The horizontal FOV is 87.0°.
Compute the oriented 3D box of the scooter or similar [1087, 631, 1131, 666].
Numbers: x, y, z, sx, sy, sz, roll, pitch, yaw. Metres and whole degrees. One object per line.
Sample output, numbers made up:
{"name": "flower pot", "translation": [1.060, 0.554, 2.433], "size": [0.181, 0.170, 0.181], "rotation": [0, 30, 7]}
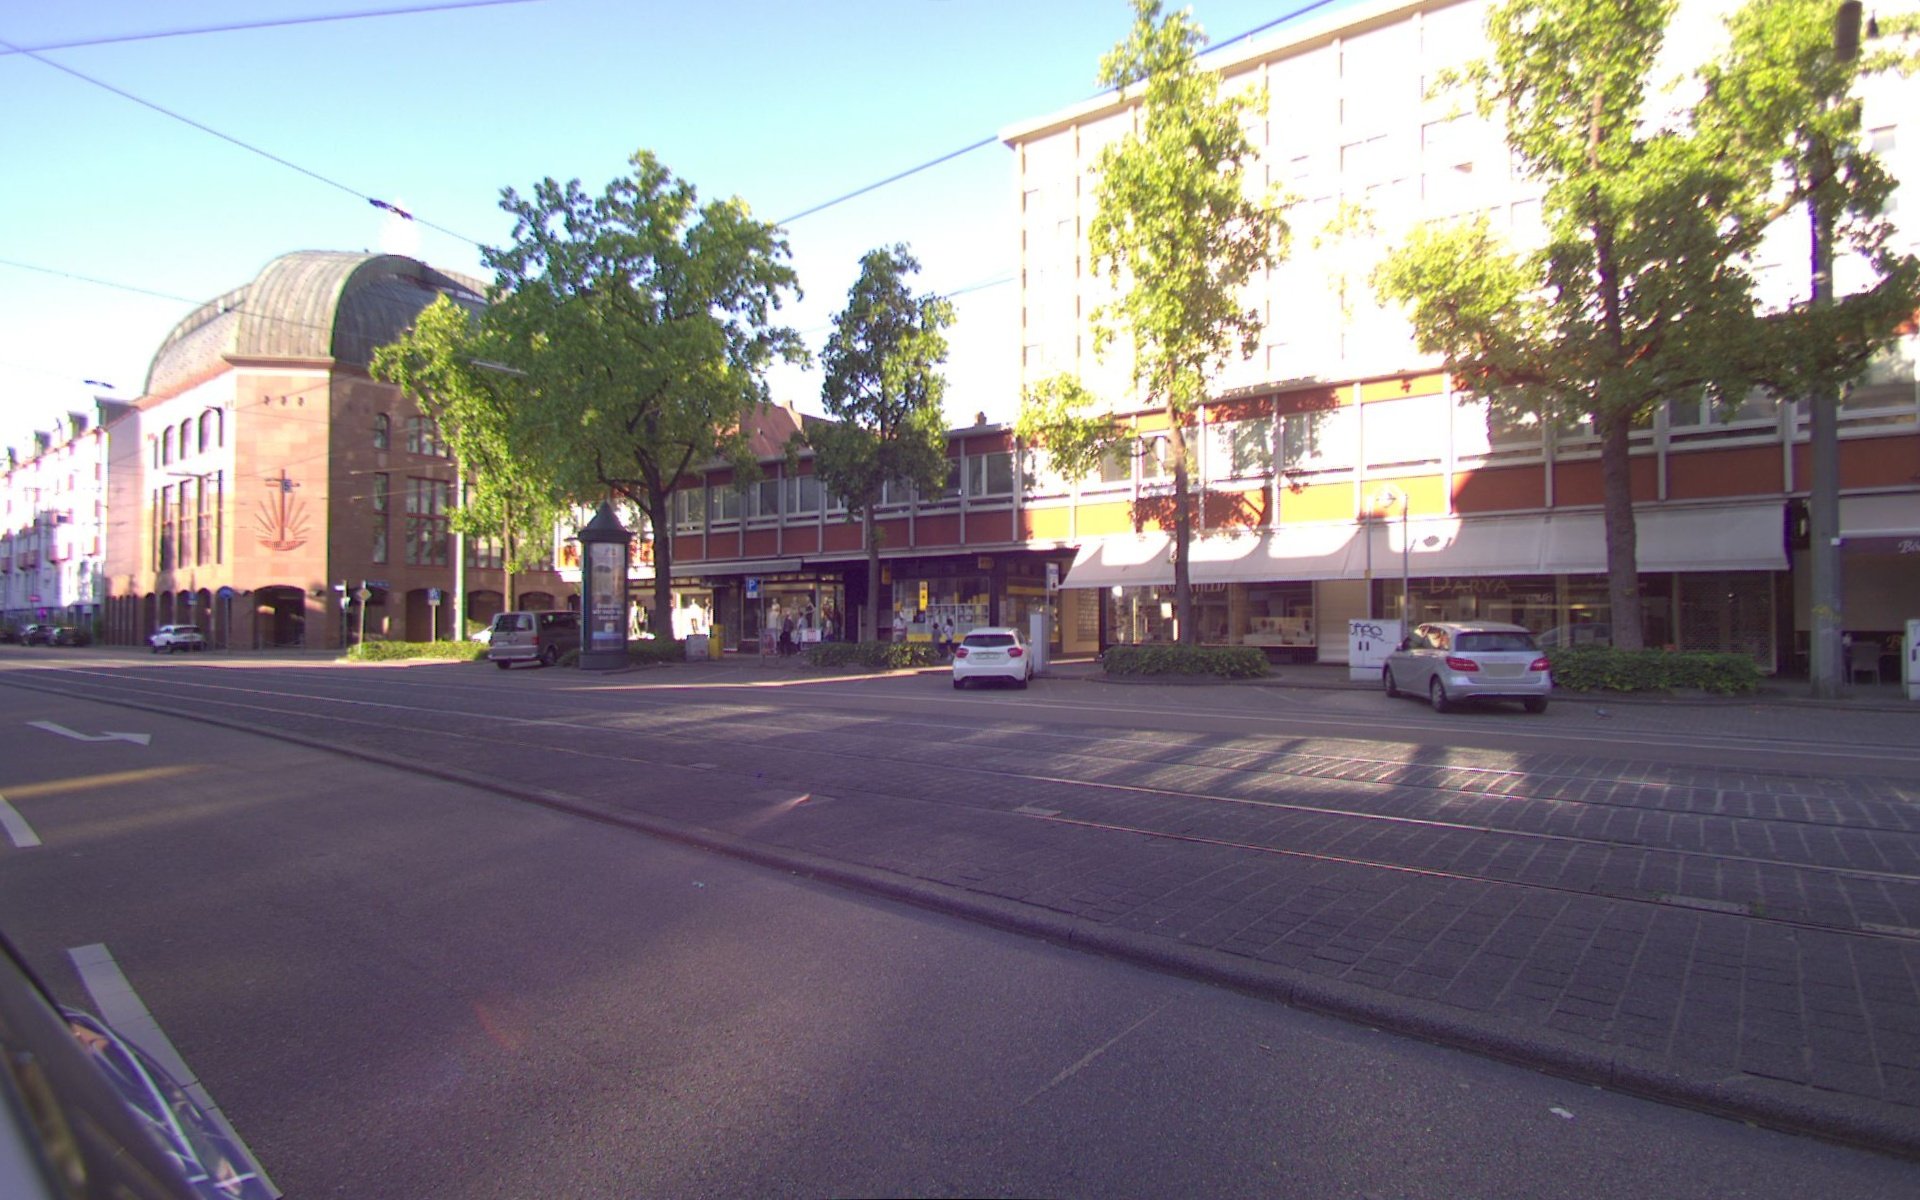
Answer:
{"name": "scooter or similar", "translation": [4.762, 1.542, 32.350], "size": [1.335, 1.102, 0.470], "rotation": [-1, -1, 36]}

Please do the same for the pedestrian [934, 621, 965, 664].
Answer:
{"name": "pedestrian", "translation": [-0.379, 1.508, 36.069], "size": [0.898, 1.481, 0.681], "rotation": [-1, -2, 36]}

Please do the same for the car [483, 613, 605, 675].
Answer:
{"name": "car", "translation": [-14.694, 1.493, 36.101], "size": [1.831, 1.943, 5.112], "rotation": [0, 0, 6]}

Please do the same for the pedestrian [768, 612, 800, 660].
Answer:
{"name": "pedestrian", "translation": [-6.965, 1.419, 40.057], "size": [0.898, 1.892, 0.908], "rotation": [-1, -2, 36]}

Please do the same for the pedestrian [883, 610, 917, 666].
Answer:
{"name": "pedestrian", "translation": [-2.038, 1.286, 34.505], "size": [0.903, 1.892, 0.903], "rotation": [1, -2, -24]}

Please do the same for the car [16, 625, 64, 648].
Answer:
{"name": "car", "translation": [-71.870, 2.831, 79.077], "size": [4.552, 1.713, 1.941], "rotation": [-1, -1, 37]}

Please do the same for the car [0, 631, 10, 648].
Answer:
{"name": "car", "translation": [-86.730, 3.548, 90.585], "size": [4.555, 1.520, 1.807], "rotation": [-1, -1, 38]}

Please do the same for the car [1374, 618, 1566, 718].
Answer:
{"name": "car", "translation": [9.292, 1.162, 18.862], "size": [1.805, 1.578, 4.271], "rotation": [0, 0, 7]}

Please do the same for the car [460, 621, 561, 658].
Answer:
{"name": "car", "translation": [-25.976, 2.244, 58.659], "size": [2.128, 1.982, 4.934], "rotation": [2, 0, 36]}

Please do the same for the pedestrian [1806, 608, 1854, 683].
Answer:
{"name": "pedestrian", "translation": [18.892, 0.977, 21.994], "size": [0.705, 1.575, 0.864], "rotation": [-2, -2, 38]}

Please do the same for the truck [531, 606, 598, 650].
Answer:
{"name": "truck", "translation": [-25.773, 1.821, 65.911], "size": [4.519, 2.784, 1.835], "rotation": [-1, -2, 34]}

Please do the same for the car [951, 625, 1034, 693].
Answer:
{"name": "car", "translation": [0.905, 1.420, 25.384], "size": [1.745, 1.440, 4.261], "rotation": [-1, 0, 6]}

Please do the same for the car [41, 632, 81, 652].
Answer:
{"name": "car", "translation": [-66.483, 3.081, 74.828], "size": [3.679, 1.411, 1.626], "rotation": [-1, -1, 39]}

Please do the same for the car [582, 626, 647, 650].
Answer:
{"name": "car", "translation": [-23.535, 2.590, 68.908], "size": [4.519, 1.585, 1.835], "rotation": [-1, -2, 34]}

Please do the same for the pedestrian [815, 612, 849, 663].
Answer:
{"name": "pedestrian", "translation": [-4.784, 1.389, 37.876], "size": [0.898, 1.892, 0.908], "rotation": [-1, -2, 36]}

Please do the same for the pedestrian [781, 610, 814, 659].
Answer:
{"name": "pedestrian", "translation": [-6.600, 1.391, 41.055], "size": [0.898, 1.963, 0.984], "rotation": [-1, -2, 36]}

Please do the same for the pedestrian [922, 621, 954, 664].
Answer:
{"name": "pedestrian", "translation": [-0.764, 1.480, 35.463], "size": [0.898, 1.509, 0.681], "rotation": [-1, -2, 36]}

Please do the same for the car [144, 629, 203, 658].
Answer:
{"name": "car", "translation": [-45.377, 2.476, 58.349], "size": [4.269, 1.602, 1.581], "rotation": [-1, 0, 36]}
